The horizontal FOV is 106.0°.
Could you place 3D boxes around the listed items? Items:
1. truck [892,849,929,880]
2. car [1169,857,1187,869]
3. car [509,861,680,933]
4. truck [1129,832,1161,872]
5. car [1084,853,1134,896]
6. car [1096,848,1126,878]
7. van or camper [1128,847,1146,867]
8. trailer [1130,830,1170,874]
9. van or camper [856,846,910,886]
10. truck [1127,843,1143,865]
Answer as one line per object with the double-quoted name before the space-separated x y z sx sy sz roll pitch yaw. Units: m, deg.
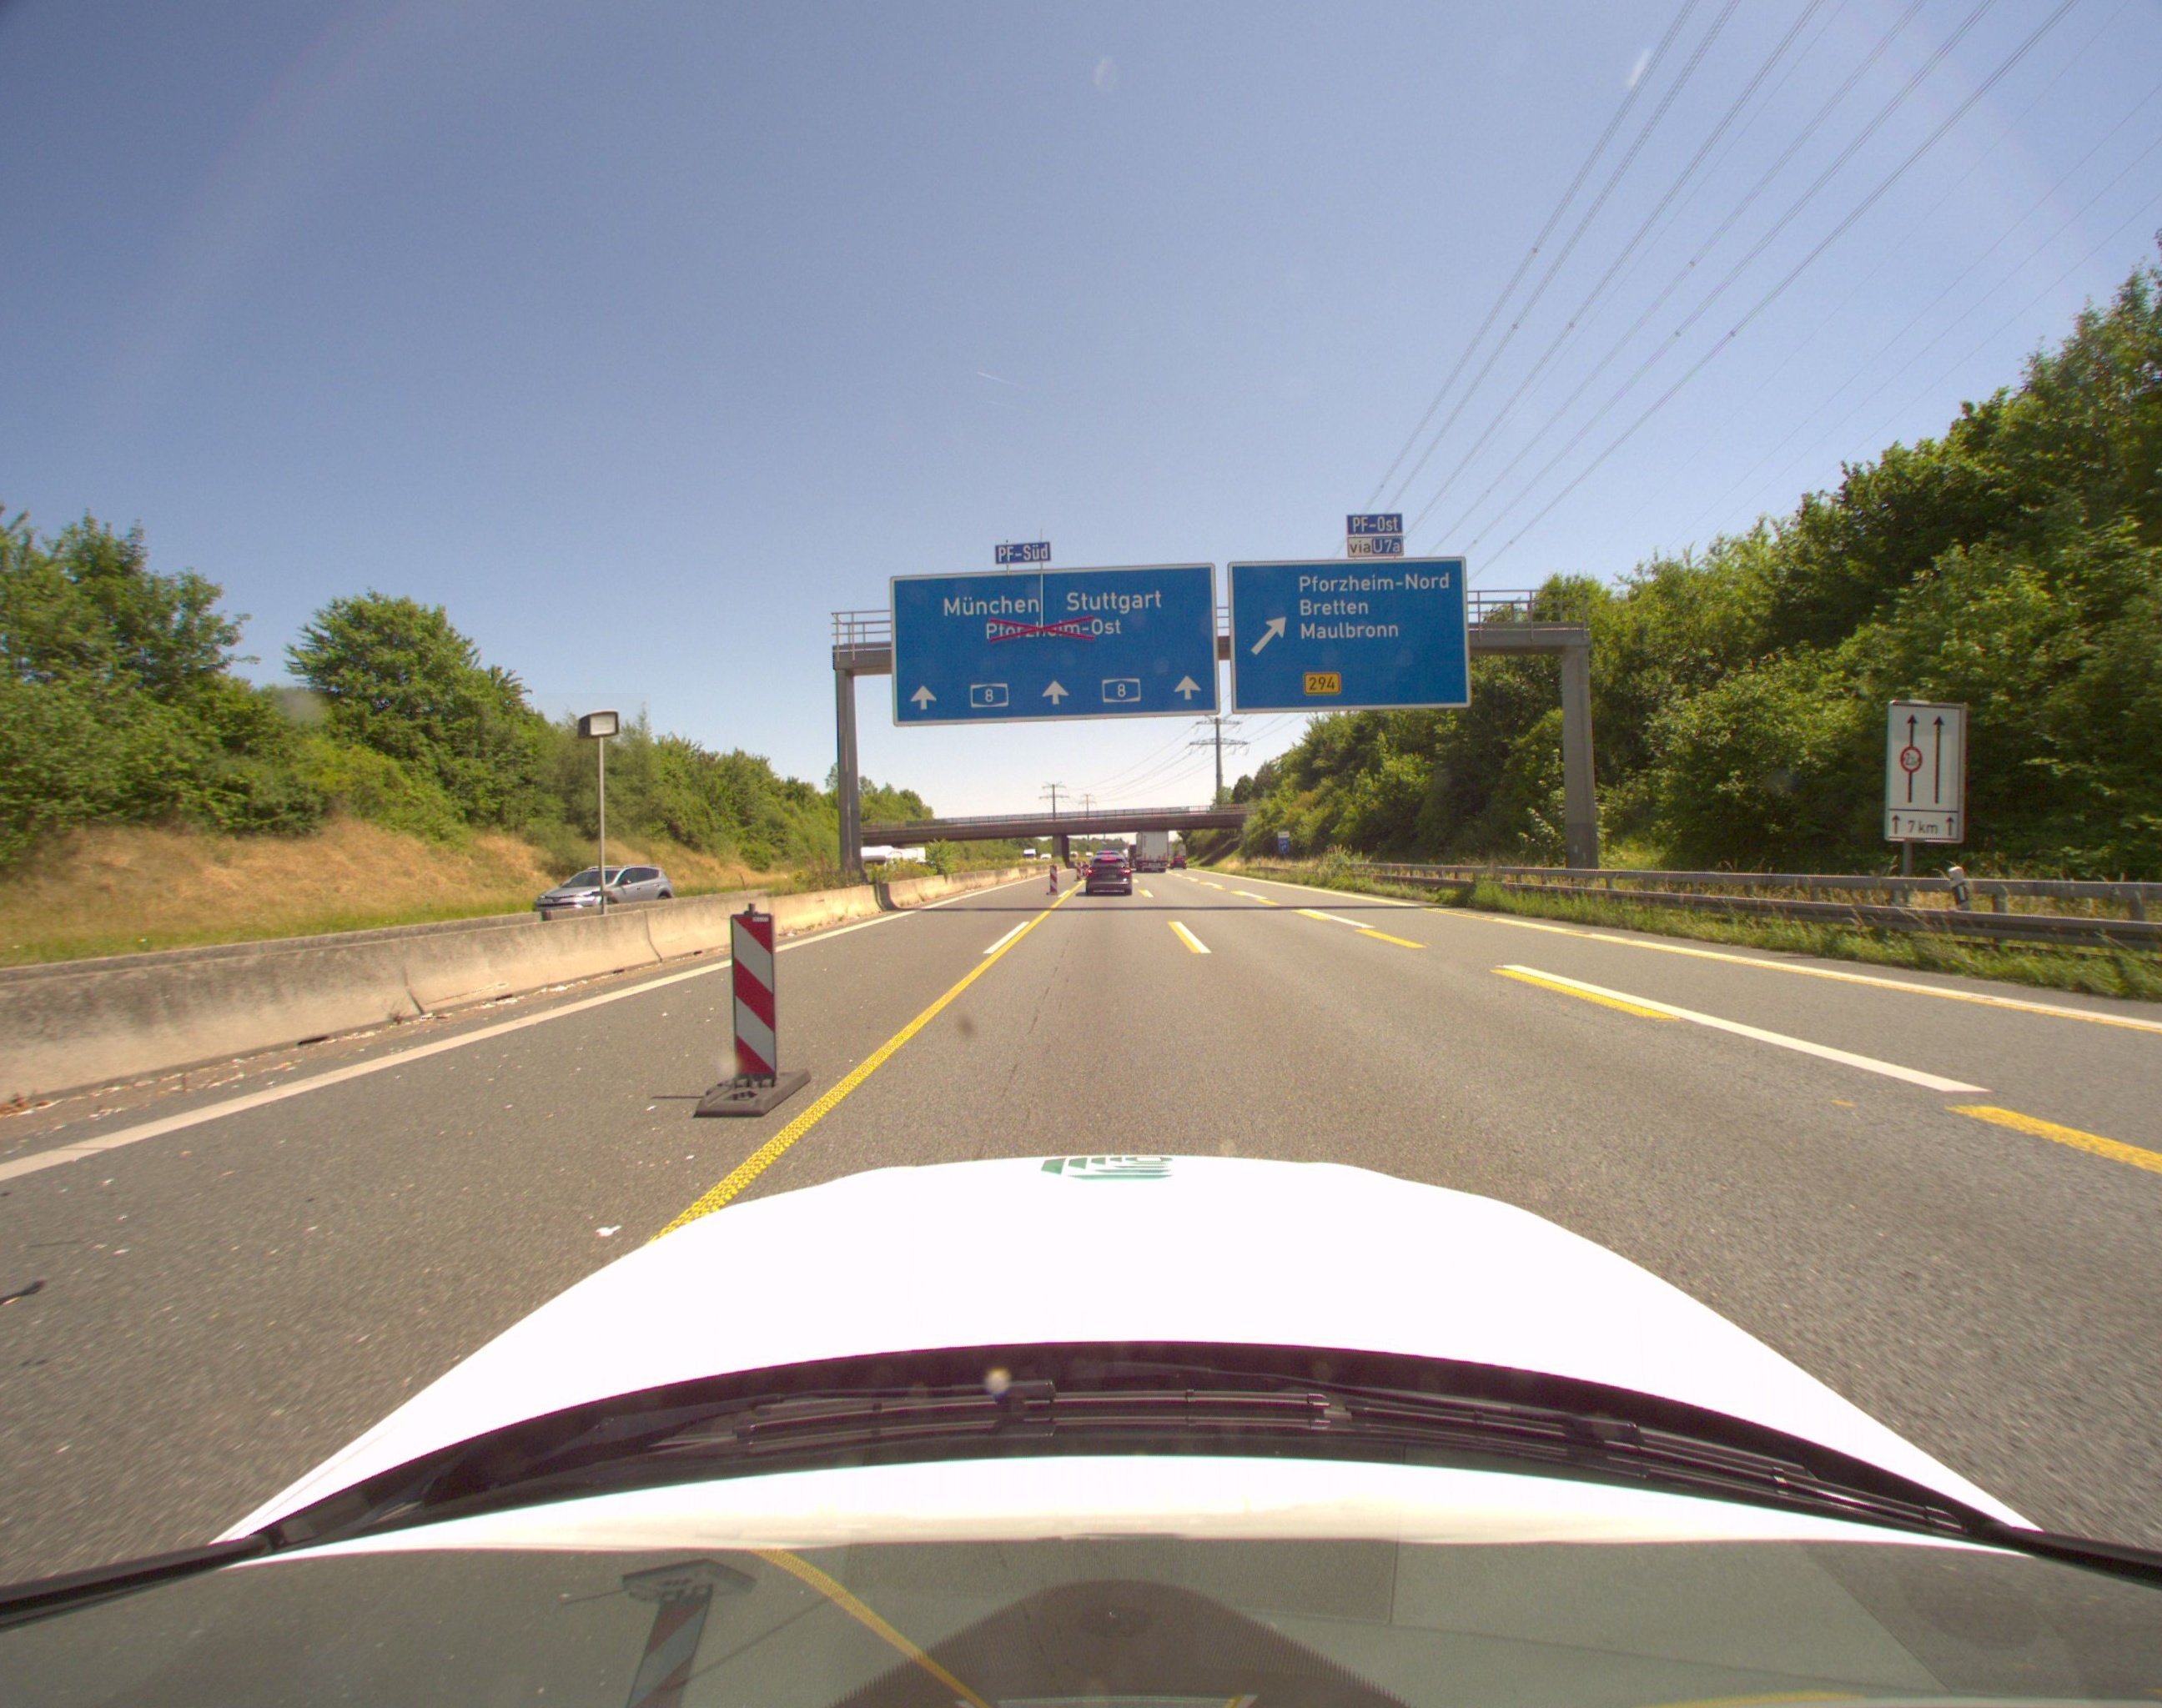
"truck" -18.503 1.121 88.691 2.486 3.259 6.367 -2 0 2
"car" 11.658 1.081 97.818 1.772 1.489 4.465 0 0 2
"car" -13.791 1.145 23.498 1.986 1.782 4.624 -2 0 2
"truck" 6.897 -0.200 88.726 3.014 4.087 7.796 -1 0 1
"car" 1.112 0.784 33.298 1.889 1.592 4.443 -1 0 1
"car" 2.010 0.638 55.054 1.889 1.842 4.442 2 -2 1
"van or camper" 8.566 0.492 124.839 2.576 2.968 6.089 0 0 3
"trailer" 6.823 -0.153 81.922 3.055 4.042 11.487 -1 0 1
"van or camper" -16.873 1.011 69.912 2.426 3.147 7.629 -2 0 2
"truck" 10.586 0.065 161.155 3.065 4.146 13.064 0 0 3
